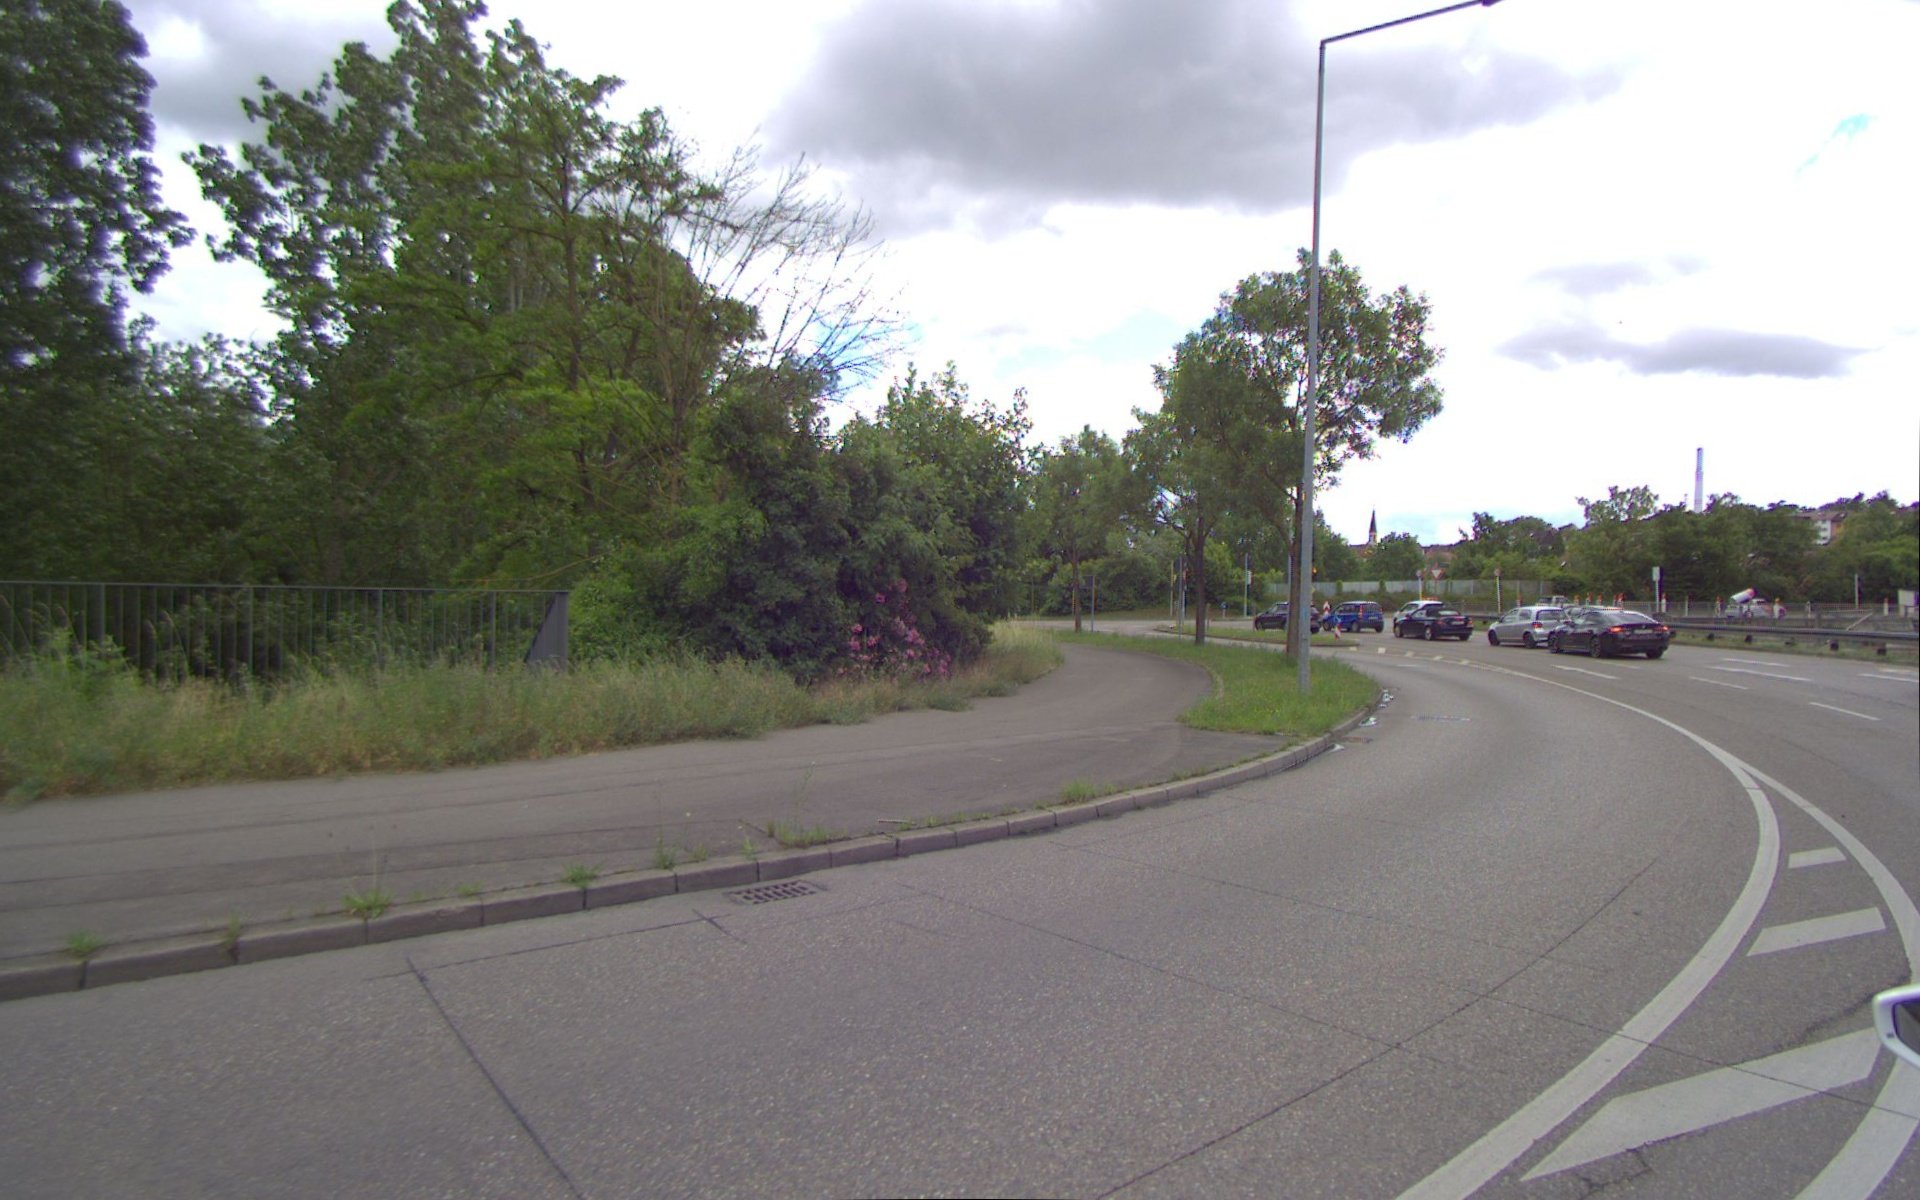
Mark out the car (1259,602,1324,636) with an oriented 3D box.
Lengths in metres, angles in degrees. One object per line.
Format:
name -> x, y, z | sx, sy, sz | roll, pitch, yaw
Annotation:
car -> 16.671, 0.935, 50.679 | 1.630, 1.527, 3.766 | -3, 1, -6

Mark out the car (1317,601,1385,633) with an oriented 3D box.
car -> 19.811, 0.851, 51.036 | 1.522, 1.527, 3.369 | -1, 0, -16

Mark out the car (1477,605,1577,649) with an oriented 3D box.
car -> 21.370, 0.983, 38.012 | 1.641, 1.489, 3.628 | -3, 0, 0

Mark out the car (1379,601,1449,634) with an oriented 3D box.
car -> 24.109, 0.925, 53.463 | 1.684, 1.697, 3.998 | 1, -1, -4

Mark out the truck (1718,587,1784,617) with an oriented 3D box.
truck -> 58.436, 0.151, 74.203 | 3.941, 2.040, 1.990 | 3, 1, -21

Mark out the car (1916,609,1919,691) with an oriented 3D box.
car -> 18.274, 0.972, 17.451 | 1.773, 1.573, 3.987 | 0, 0, 34

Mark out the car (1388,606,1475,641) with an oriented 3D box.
car -> 20.491, 1.007, 43.815 | 1.539, 1.386, 4.080 | -3, 0, -5

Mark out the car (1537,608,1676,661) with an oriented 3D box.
car -> 20.768, 1.045, 32.540 | 1.841, 1.496, 4.966 | -1, 0, 7

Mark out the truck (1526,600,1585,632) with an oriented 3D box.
truck -> 42.056, 1.121, 70.936 | 3.173, 2.040, 1.735 | 3, 1, -14
